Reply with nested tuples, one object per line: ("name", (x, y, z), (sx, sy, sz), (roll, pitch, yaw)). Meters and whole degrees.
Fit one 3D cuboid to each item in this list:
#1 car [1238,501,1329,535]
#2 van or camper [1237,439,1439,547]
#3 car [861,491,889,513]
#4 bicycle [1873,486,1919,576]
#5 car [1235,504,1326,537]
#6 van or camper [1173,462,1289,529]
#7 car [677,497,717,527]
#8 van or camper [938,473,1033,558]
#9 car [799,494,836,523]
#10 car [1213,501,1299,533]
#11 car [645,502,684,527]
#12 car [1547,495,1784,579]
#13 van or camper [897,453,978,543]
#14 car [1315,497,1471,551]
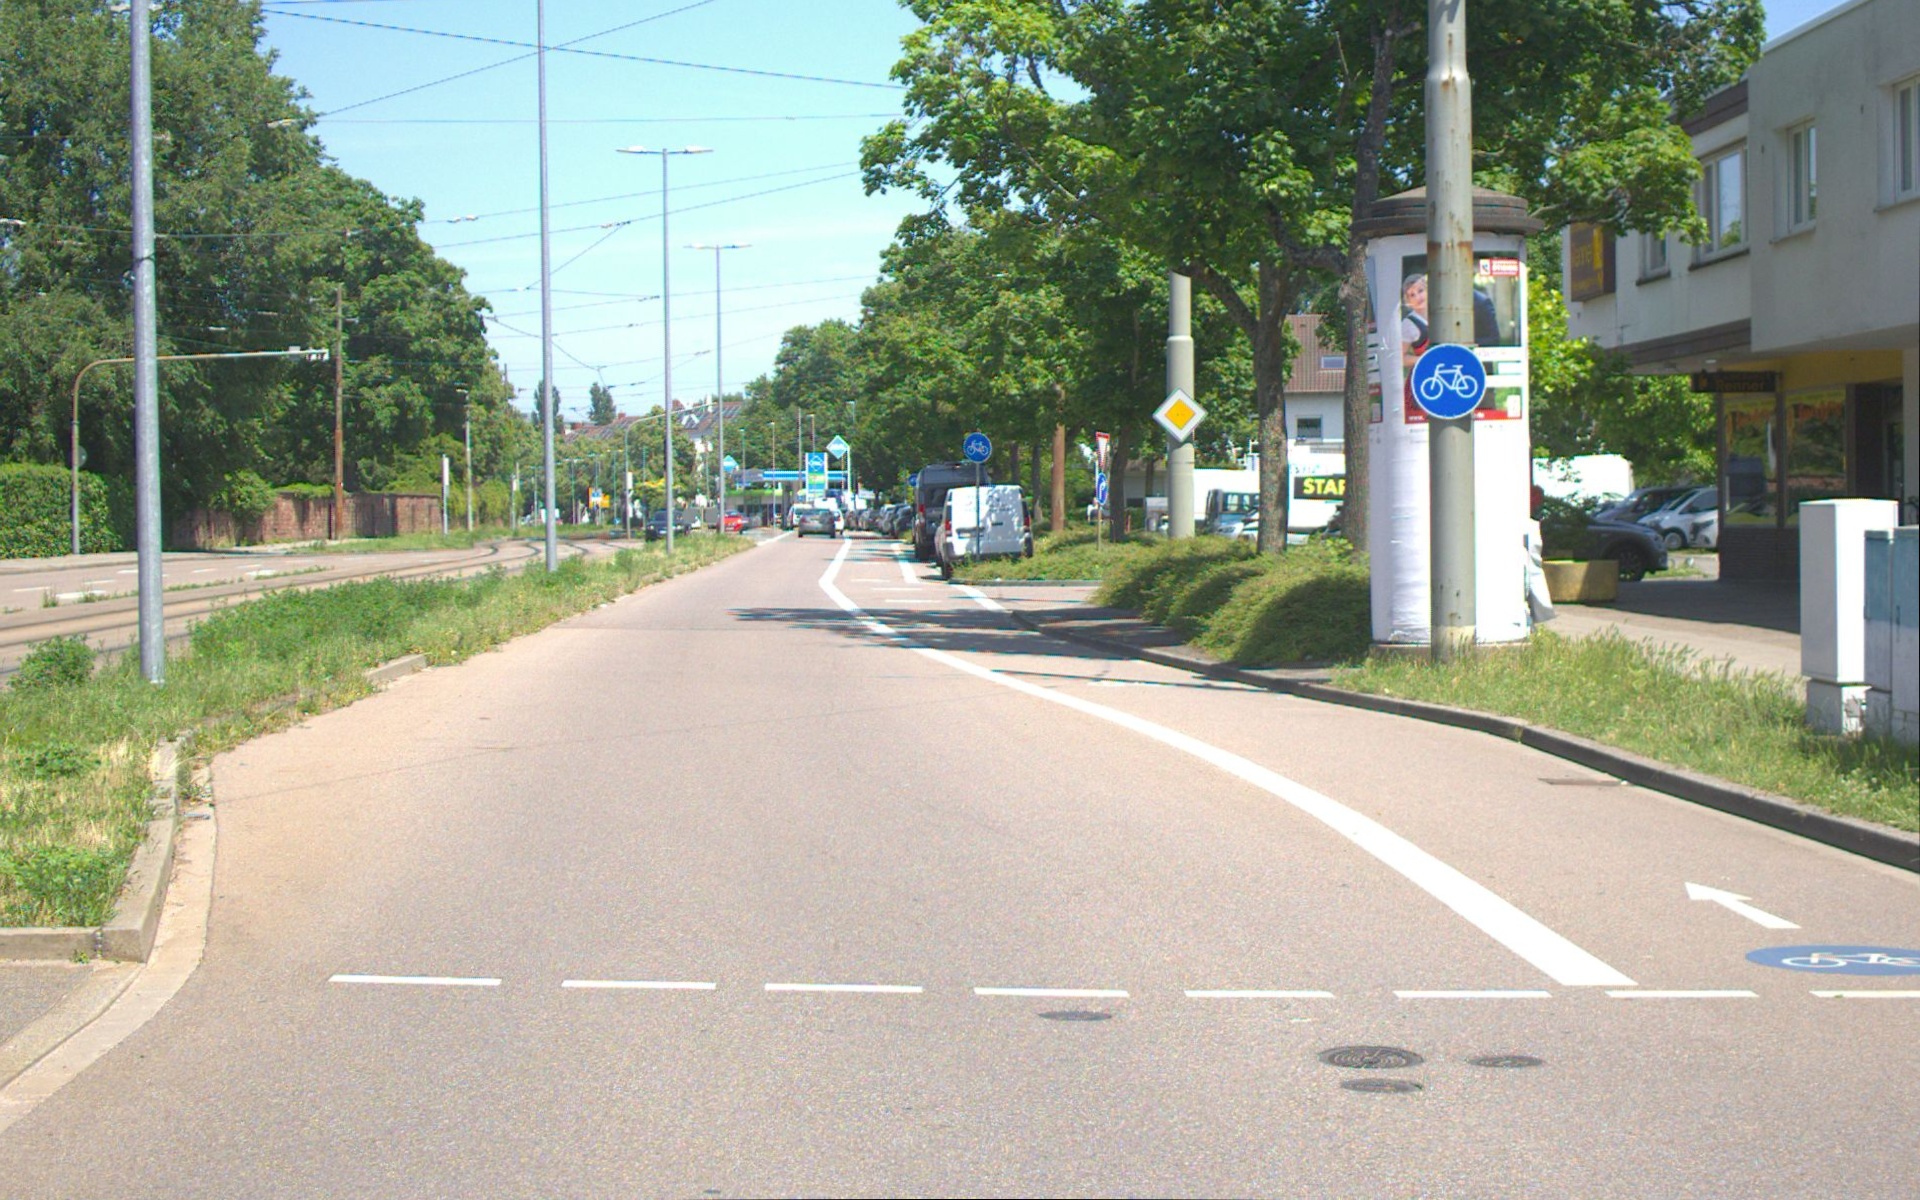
("car", (9.363, -2.380, 99.581), (2.588, 0.959, 1.149), (0, 2, 4))
("van or camper", (9.490, -2.697, 86.555), (4.756, 2.661, 2.136), (-1, 2, -3))
("car", (-5.181, -5.951, 208.286), (1.523, 1.291, 3.493), (-1, 2, -4))
("bicycle", (11.592, -0.824, 41.459), (0.507, 1.061, 1.865), (1, 1, -5))
("car", (9.549, -2.372, 102.517), (2.587, 0.959, 1.149), (-1, 2, 0))
("van or camper", (8.731, -3.374, 110.909), (3.557, 2.138, 1.603), (-1, 2, -3))
("car", (-9.238, -3.095, 120.620), (1.291, 1.050, 2.601), (-1, 2, -7))
("van or camper", (0.513, -1.818, 73.364), (1.922, 1.765, 4.001), (0, 2, -1))
("car", (-6.760, -4.349, 163.352), (1.636, 1.346, 3.843), (-1, 2, -4))
("car", (9.262, -2.609, 107.562), (2.587, 0.959, 1.149), (0, 2, 0))
("car", (-12.751, -3.703, 148.638), (1.492, 1.042, 3.580), (-1, 2, -2))
("car", (11.861, -1.073, 57.863), (3.606, 1.346, 1.491), (-1, 2, -7))
("van or camper", (-0.645, -2.845, 95.819), (1.993, 2.456, 4.001), (-1, 2, -4))
("car", (10.137, -1.788, 80.562), (3.543, 1.218, 1.476), (0, 2, 4))
